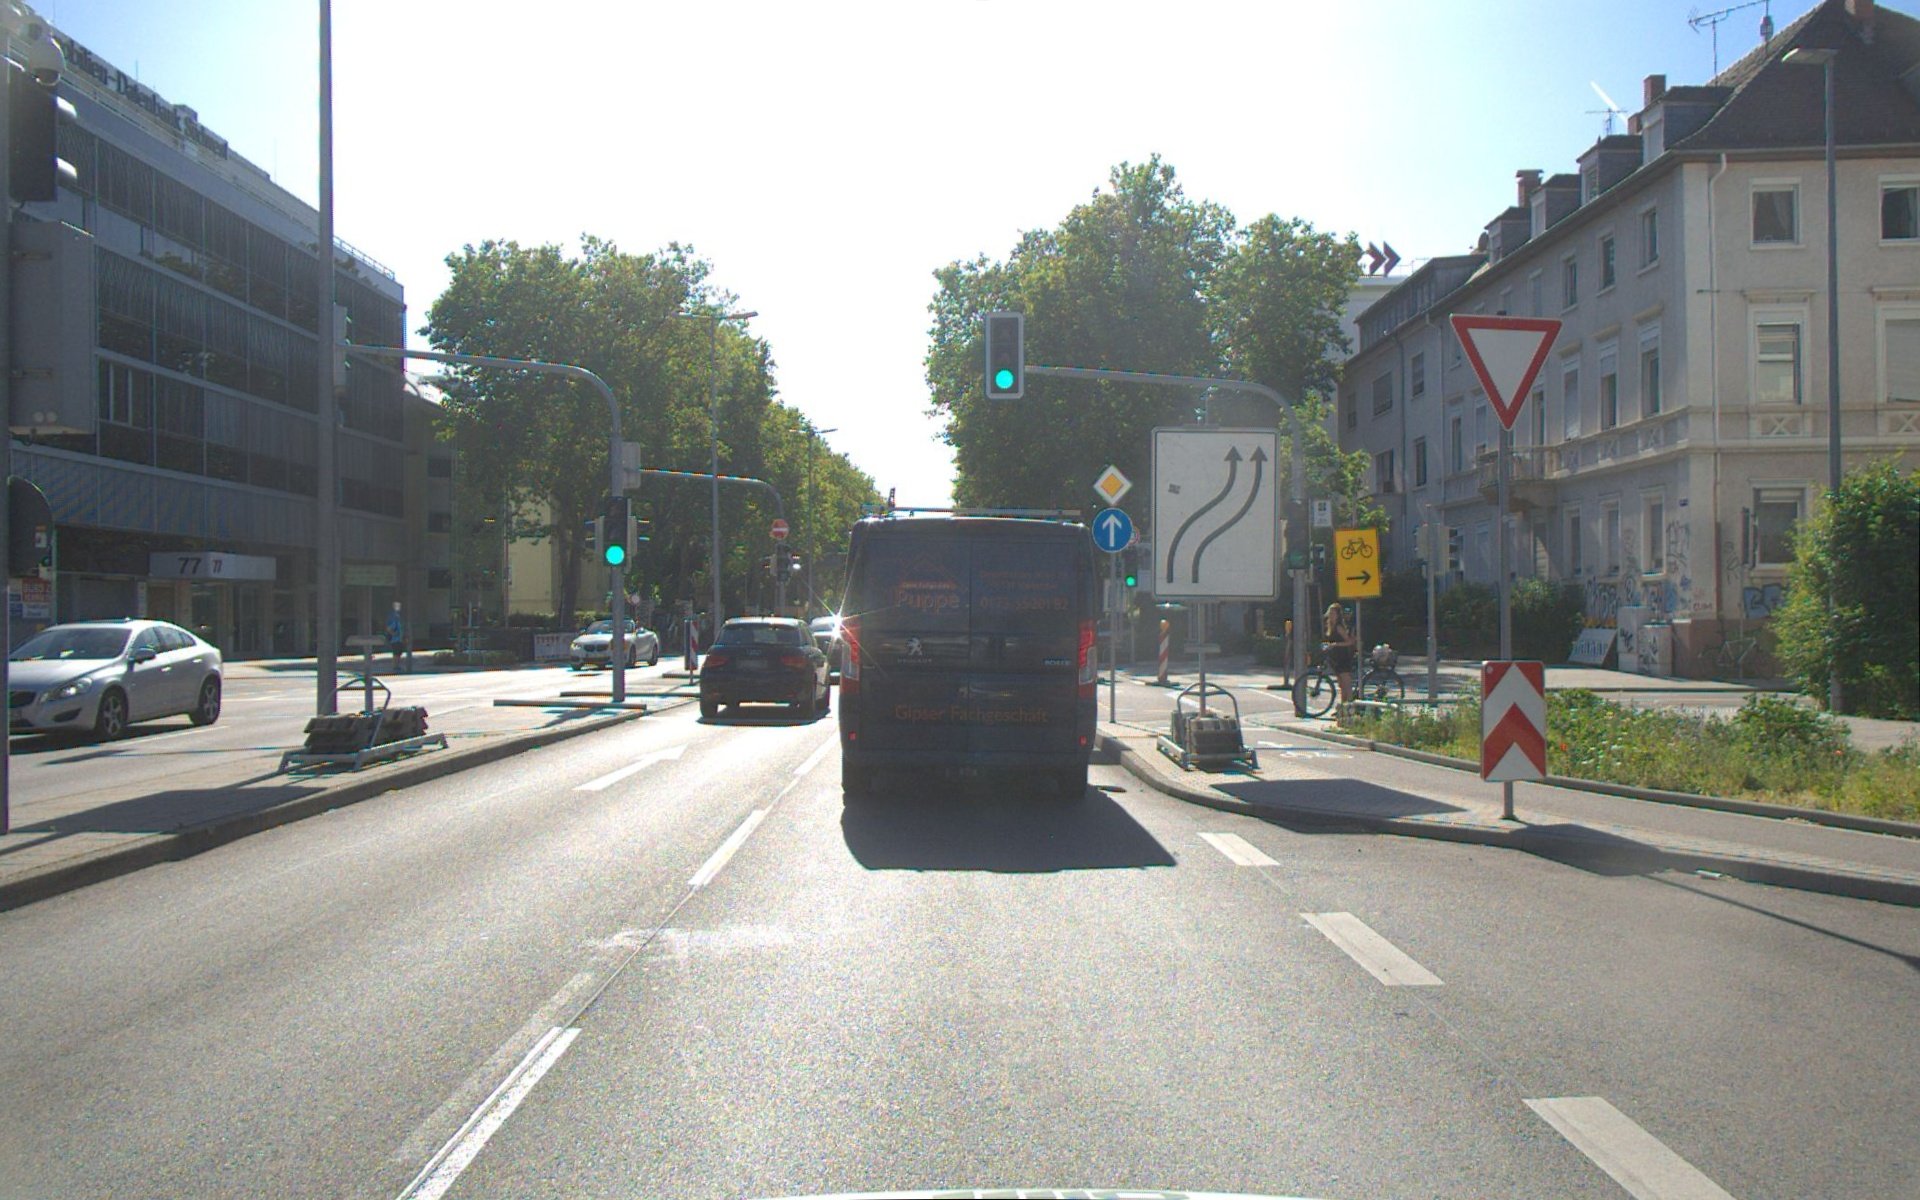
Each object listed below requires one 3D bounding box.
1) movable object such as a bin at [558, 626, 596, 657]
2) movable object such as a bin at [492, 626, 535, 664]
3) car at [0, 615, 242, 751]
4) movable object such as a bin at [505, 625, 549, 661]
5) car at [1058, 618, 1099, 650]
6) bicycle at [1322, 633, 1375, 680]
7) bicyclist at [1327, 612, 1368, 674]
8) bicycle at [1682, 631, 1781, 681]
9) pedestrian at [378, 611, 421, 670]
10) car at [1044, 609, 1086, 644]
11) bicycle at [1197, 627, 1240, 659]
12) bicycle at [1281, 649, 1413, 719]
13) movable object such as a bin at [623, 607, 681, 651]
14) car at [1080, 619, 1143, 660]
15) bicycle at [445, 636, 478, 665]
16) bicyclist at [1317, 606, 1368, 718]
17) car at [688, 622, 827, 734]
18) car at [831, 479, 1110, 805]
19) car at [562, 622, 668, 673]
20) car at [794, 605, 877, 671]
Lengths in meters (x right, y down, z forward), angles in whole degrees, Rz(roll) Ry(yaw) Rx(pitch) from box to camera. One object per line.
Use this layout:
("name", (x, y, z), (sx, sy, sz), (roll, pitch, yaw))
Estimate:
("movable object such as a bin", (-16.898, 1.831, 72.949), (1.381, 1.361, 1.157), (0, -1, 2))
("movable object such as a bin", (-17.161, 1.718, 63.605), (1.091, 1.413, 1.856), (0, -1, 2))
("car", (-11.301, 0.996, 21.589), (1.953, 1.478, 4.389), (3, 0, -2))
("movable object such as a bin", (-17.252, 1.713, 65.941), (1.189, 1.413, 1.856), (0, -1, 2))
("car", (5.893, 1.663, 82.331), (1.727, 1.534, 4.250), (0, -1, 0))
("bicycle", (9.709, 1.397, 41.303), (0.677, 1.117, 1.680), (-1, -1, 36))
("bicyclist", (9.698, 1.056, 41.361), (0.711, 1.526, 0.868), (-1, -1, 36))
("bicycle", (17.307, 1.253, 37.113), (1.955, 1.099, 0.579), (0, -1, 1))
("pedestrian", (-16.668, 1.203, 49.215), (0.846, 1.741, 1.013), (0, -1, 7))
("car", (5.936, 1.500, 94.014), (1.984, 1.981, 5.272), (0, -1, 0))
("bicycle", (8.510, 1.412, 54.398), (0.577, 1.023, 2.124), (0, -1, 34))
("bicycle", (6.101, 1.321, 26.119), (1.922, 1.043, 0.605), (1, 0, -1))
("movable object such as a bin", (-17.194, 1.627, 92.672), (1.952, 2.318, 5.600), (-1, -1, 2))
("car", (5.733, 1.488, 63.105), (1.814, 1.505, 4.940), (0, -1, -1))
("bicycle", (-18.382, 1.854, 61.063), (0.614, 1.055, 1.879), (0, -1, 1))
("bicyclist", (6.048, 0.964, 26.177), (0.591, 1.738, 0.858), (0, -1, 0))
("car", (-3.008, 1.125, 25.271), (1.711, 1.432, 3.999), (1, 1, -2))
("car", (0.056, 0.315, 14.259), (2.052, 2.396, 3.932), (1, 0, -1))
("car", (-9.870, 1.340, 47.672), (1.890, 1.369, 4.318), (0, 0, 4))
("car", (-2.873, 0.877, 38.822), (1.711, 1.432, 3.998), (1, -1, -2))
